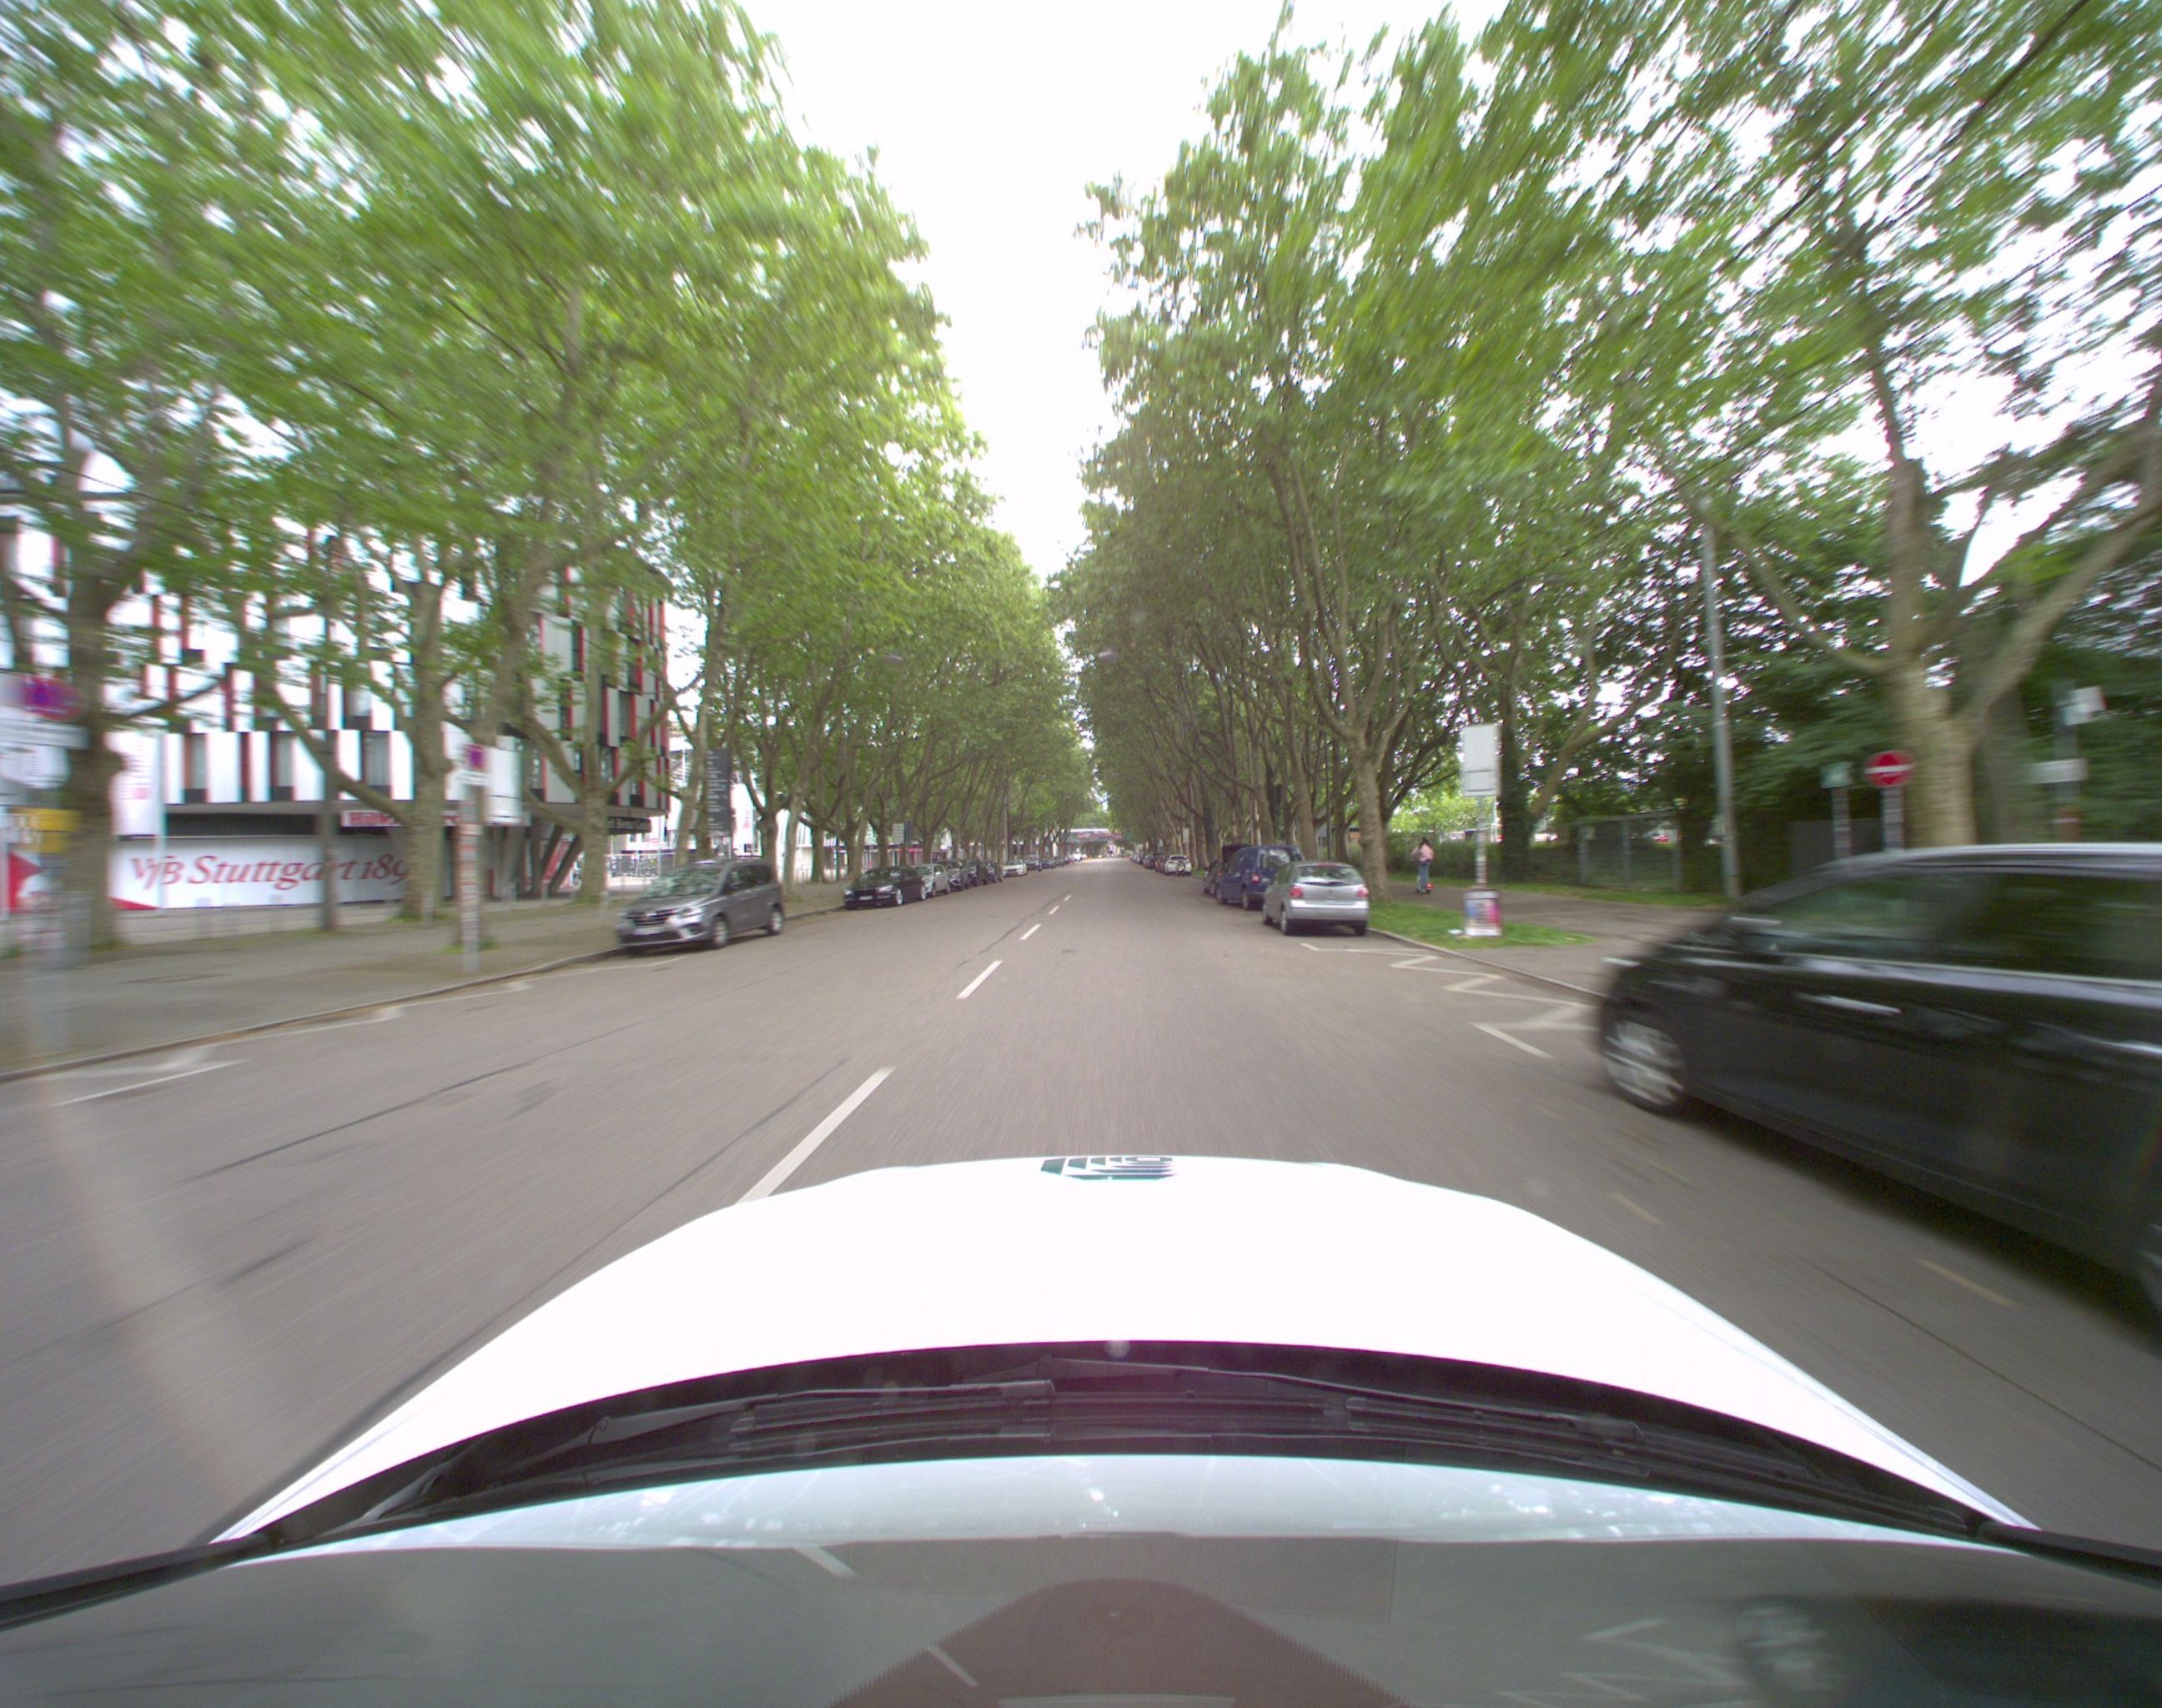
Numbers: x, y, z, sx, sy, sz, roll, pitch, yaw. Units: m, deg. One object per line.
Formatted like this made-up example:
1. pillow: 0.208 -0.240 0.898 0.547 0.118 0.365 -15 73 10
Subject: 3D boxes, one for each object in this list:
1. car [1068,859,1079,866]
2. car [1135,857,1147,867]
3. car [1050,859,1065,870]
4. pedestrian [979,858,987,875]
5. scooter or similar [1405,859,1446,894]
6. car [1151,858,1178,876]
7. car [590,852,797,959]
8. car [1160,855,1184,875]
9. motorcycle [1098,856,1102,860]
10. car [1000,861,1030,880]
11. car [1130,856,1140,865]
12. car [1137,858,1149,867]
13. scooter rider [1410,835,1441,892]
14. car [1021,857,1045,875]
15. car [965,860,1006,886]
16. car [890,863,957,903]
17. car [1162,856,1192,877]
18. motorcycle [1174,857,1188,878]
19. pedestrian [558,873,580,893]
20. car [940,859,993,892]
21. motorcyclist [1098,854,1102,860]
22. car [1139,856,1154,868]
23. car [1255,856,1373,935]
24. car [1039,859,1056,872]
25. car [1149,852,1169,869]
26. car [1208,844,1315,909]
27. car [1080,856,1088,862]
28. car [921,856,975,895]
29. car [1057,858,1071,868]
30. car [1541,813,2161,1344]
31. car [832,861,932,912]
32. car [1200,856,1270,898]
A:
1. car: -1.511 1.769 173.496 2.065 1.563 4.759 -1 0 3
2. car: 10.083 1.351 136.880 1.895 1.739 4.509 -1 -1 2
3. car: -3.471 1.537 119.678 1.870 1.527 4.154 -2 0 3
4. pedestrian: -10.749 1.366 89.192 0.572 1.770 0.771 -1 -1 17
5. scooter or similar: 11.224 0.723 26.578 0.677 1.038 1.468 -4 0 2
6. car: 7.110 1.064 69.323 1.711 1.438 4.626 1 0 -2
7. car: -7.826 0.957 17.061 1.888 1.795 4.614 -4 -1 2
8. car: 7.173 0.864 64.403 1.723 1.470 4.083 1 0 3
9. motorcycle: 5.229 1.112 222.343 0.870 1.079 3.051 -1 0 -1
10. car: -5.666 1.423 70.369 1.896 1.403 4.754 -5 -1 2
11. car: 10.579 1.256 159.959 1.796 1.555 4.002 -1 0 2
12. car: 9.408 1.271 123.026 1.700 1.427 3.891 0 0 3
13. scooter rider: 11.196 0.306 26.492 0.674 1.800 0.588 -3 -1 2
14. car: -4.889 1.239 83.968 1.941 1.750 4.640 -3 -1 2
15. car: -6.109 1.186 52.659 1.826 1.494 4.446 -5 0 3
16. car: -6.762 1.195 35.414 1.826 1.456 4.233 -5 0 2
17. car: 6.888 0.901 58.595 1.729 1.438 4.123 -1 0 1
18. motorcycle: 6.573 0.884 53.464 0.707 1.331 1.998 -1 0 11
19. pedestrian: -40.639 2.290 64.618 1.041 1.462 1.110 -2 -1 0
20. car: -6.559 1.169 47.112 1.929 1.643 4.933 -5 0 4
21. motorcyclist: 5.204 0.778 222.369 0.868 1.480 1.264 -1 -1 -1
22. car: 8.848 1.074 110.051 1.701 1.698 4.631 0 0 1
23. car: 4.817 0.789 17.337 1.612 1.461 3.950 1 0 4
24. car: -4.182 1.445 101.671 1.718 1.486 4.577 -1 0 3
25. car: 7.722 0.644 80.717 1.748 1.620 4.442 0 0 3
26. car: 5.334 0.625 24.664 1.840 1.783 4.438 1 0 -6
27. car: 0.937 1.284 226.644 1.989 1.601 3.996 -1 0 -3
28. car: -6.629 1.032 41.096 1.864 1.718 4.646 -5 0 -1
29. car: -2.697 1.433 131.695 1.818 1.465 4.633 -3 -1 5
30. car: 4.220 0.692 3.701 1.822 1.602 4.468 1 0 1
31. car: -7.209 1.125 30.154 2.074 1.530 5.150 -3 0 4
32. car: 5.762 0.814 30.939 1.986 1.478 4.374 0 0 2
